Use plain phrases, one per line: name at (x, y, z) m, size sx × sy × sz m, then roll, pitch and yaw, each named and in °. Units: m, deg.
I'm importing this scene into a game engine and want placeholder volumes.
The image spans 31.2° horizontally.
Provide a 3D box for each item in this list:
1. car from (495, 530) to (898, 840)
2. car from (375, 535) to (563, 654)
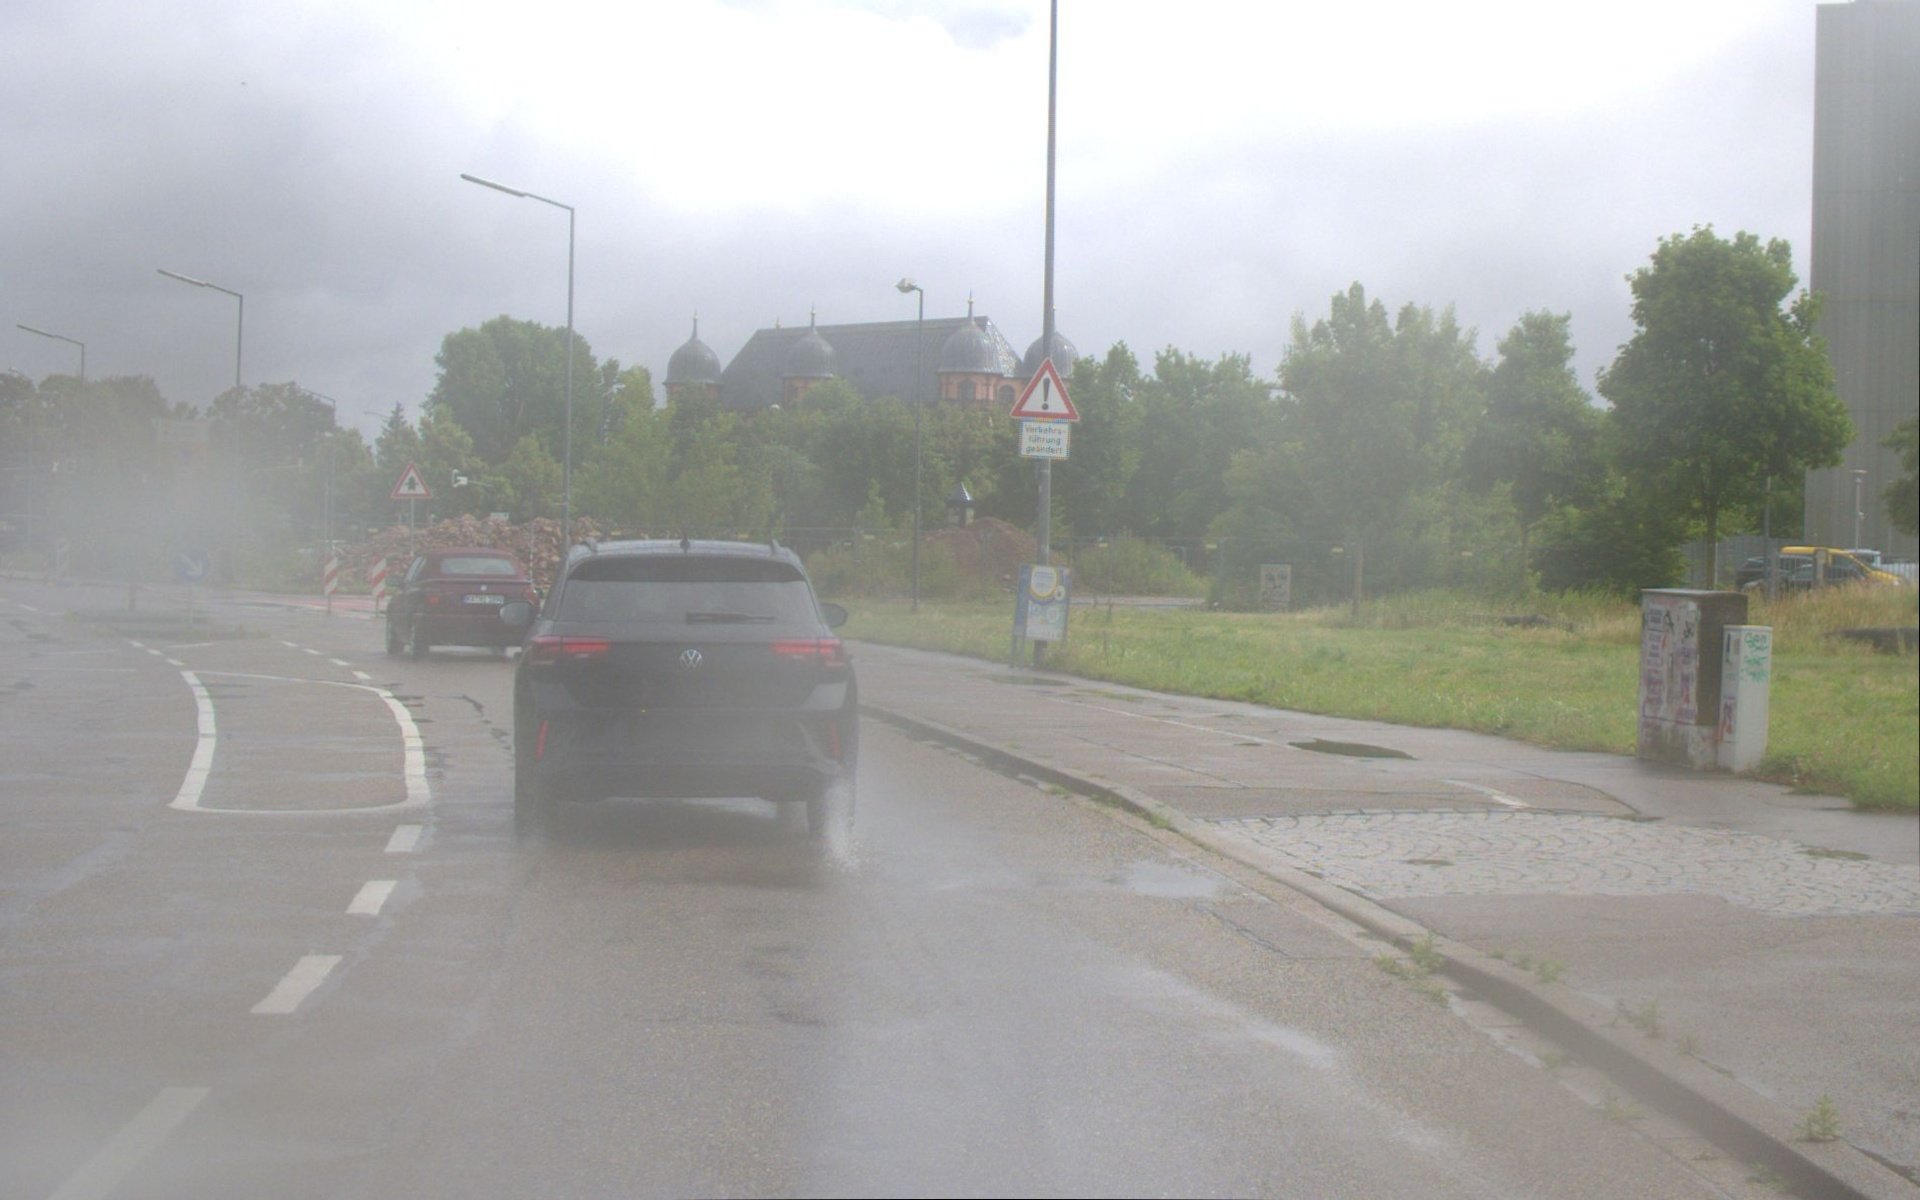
car at (-1.543, 0.378, 19.026) m, size 1.986 × 1.515 × 4.001 m, roll 0°, pitch 1°, yaw -7°
car at (-6.414, -0.087, 44.618) m, size 1.841 × 1.437 × 4.001 m, roll -1°, pitch 1°, yaw -16°
